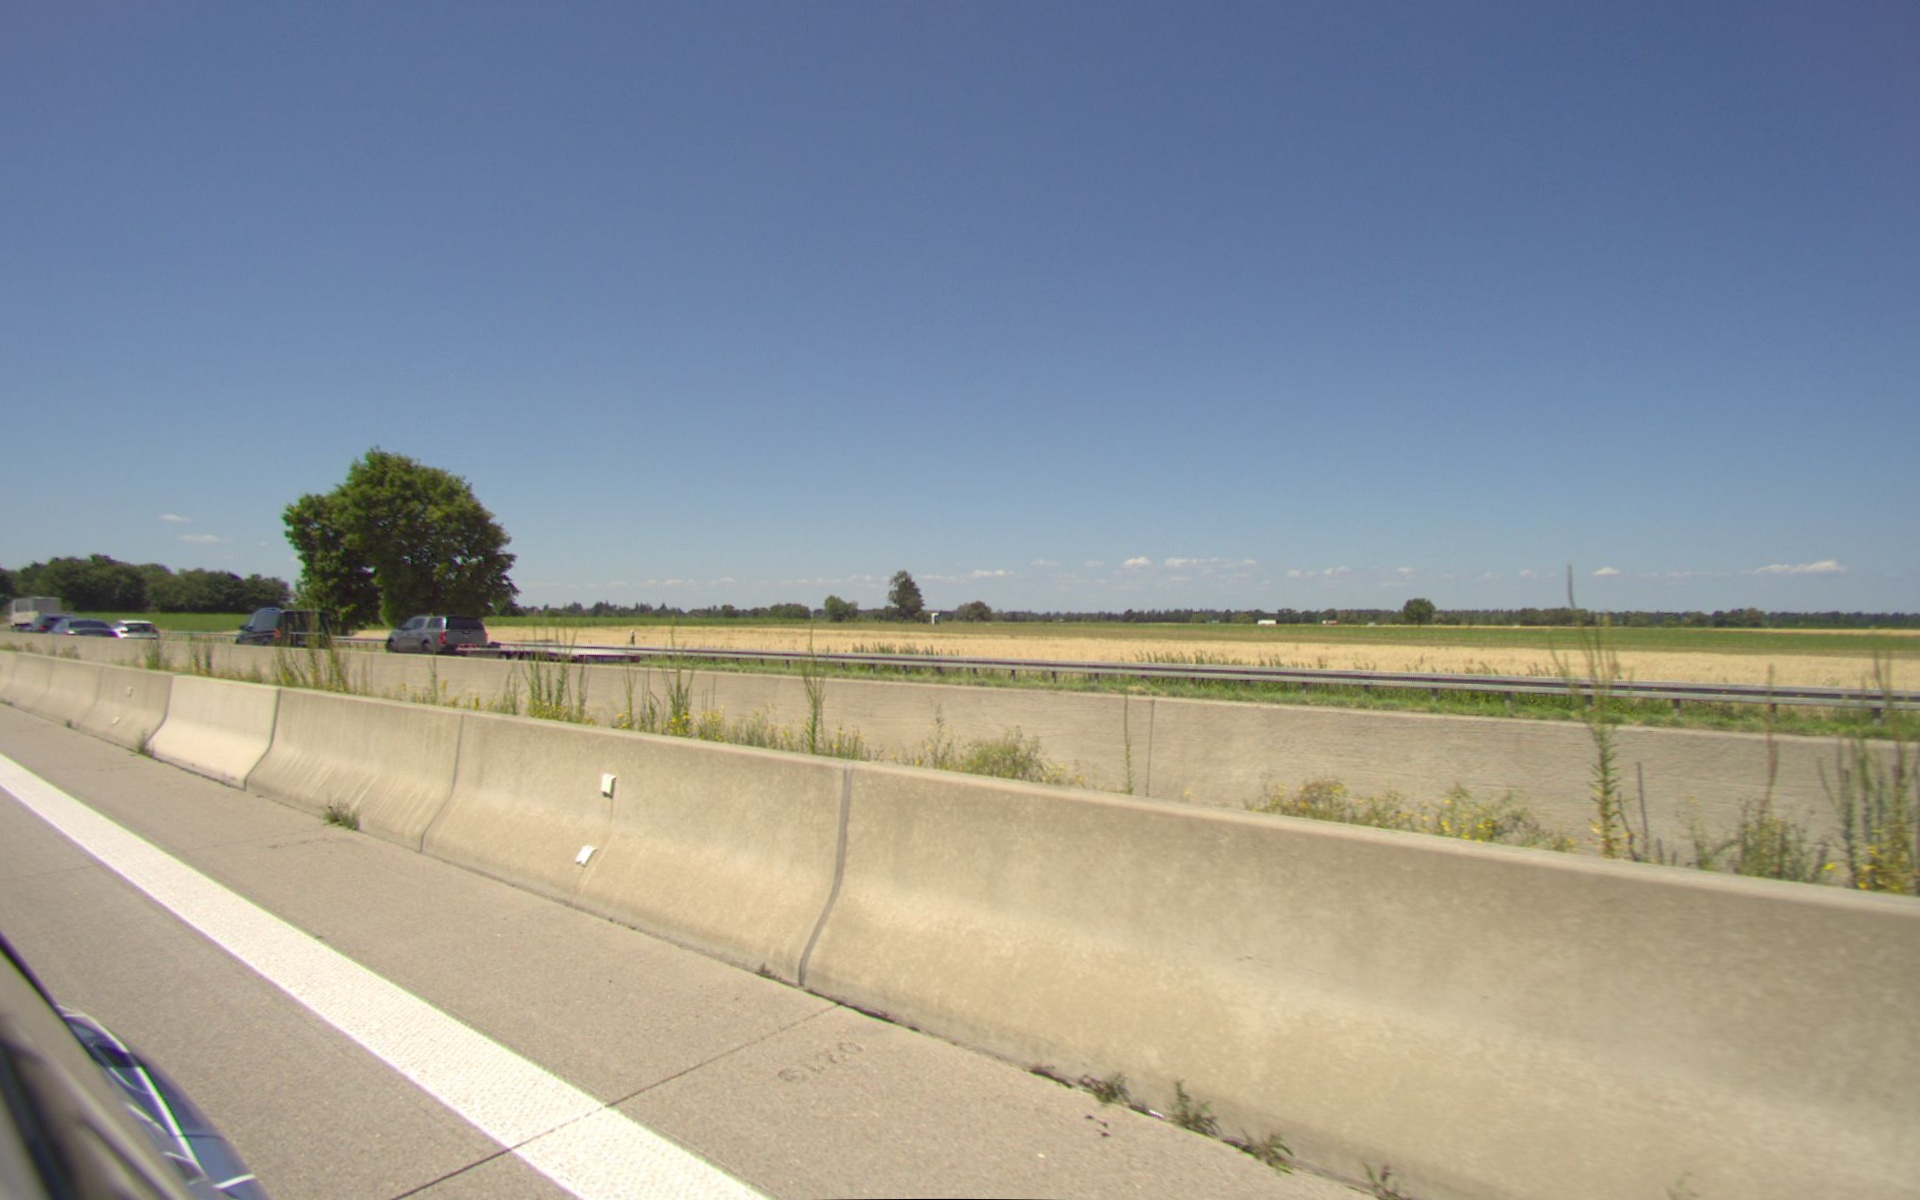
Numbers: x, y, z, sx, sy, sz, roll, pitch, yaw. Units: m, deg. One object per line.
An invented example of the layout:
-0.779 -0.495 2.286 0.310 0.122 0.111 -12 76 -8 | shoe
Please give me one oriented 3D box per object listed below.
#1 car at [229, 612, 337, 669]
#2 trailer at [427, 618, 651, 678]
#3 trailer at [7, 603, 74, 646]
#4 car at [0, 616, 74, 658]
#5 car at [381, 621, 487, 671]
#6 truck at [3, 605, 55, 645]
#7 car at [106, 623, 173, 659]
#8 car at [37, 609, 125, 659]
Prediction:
-24.542 1.426 36.627 5.181 1.892 1.973 -1 0 41 | car
-14.316 1.517 33.745 10.534 1.759 2.215 -1 -2 40 | trailer
-85.125 2.276 93.559 13.739 3.711 2.775 -1 0 40 | trailer
-41.147 1.621 45.035 5.027 1.730 1.973 -1 0 41 | car
-19.879 1.702 38.192 4.296 1.730 1.974 -1 0 39 | car
-89.715 2.409 97.450 7.230 3.715 2.775 -1 0 40 | truck
-43.187 2.125 53.249 4.611 1.730 1.973 -1 0 41 | car
-33.137 1.255 38.128 3.998 1.730 1.973 -1 0 41 | car
